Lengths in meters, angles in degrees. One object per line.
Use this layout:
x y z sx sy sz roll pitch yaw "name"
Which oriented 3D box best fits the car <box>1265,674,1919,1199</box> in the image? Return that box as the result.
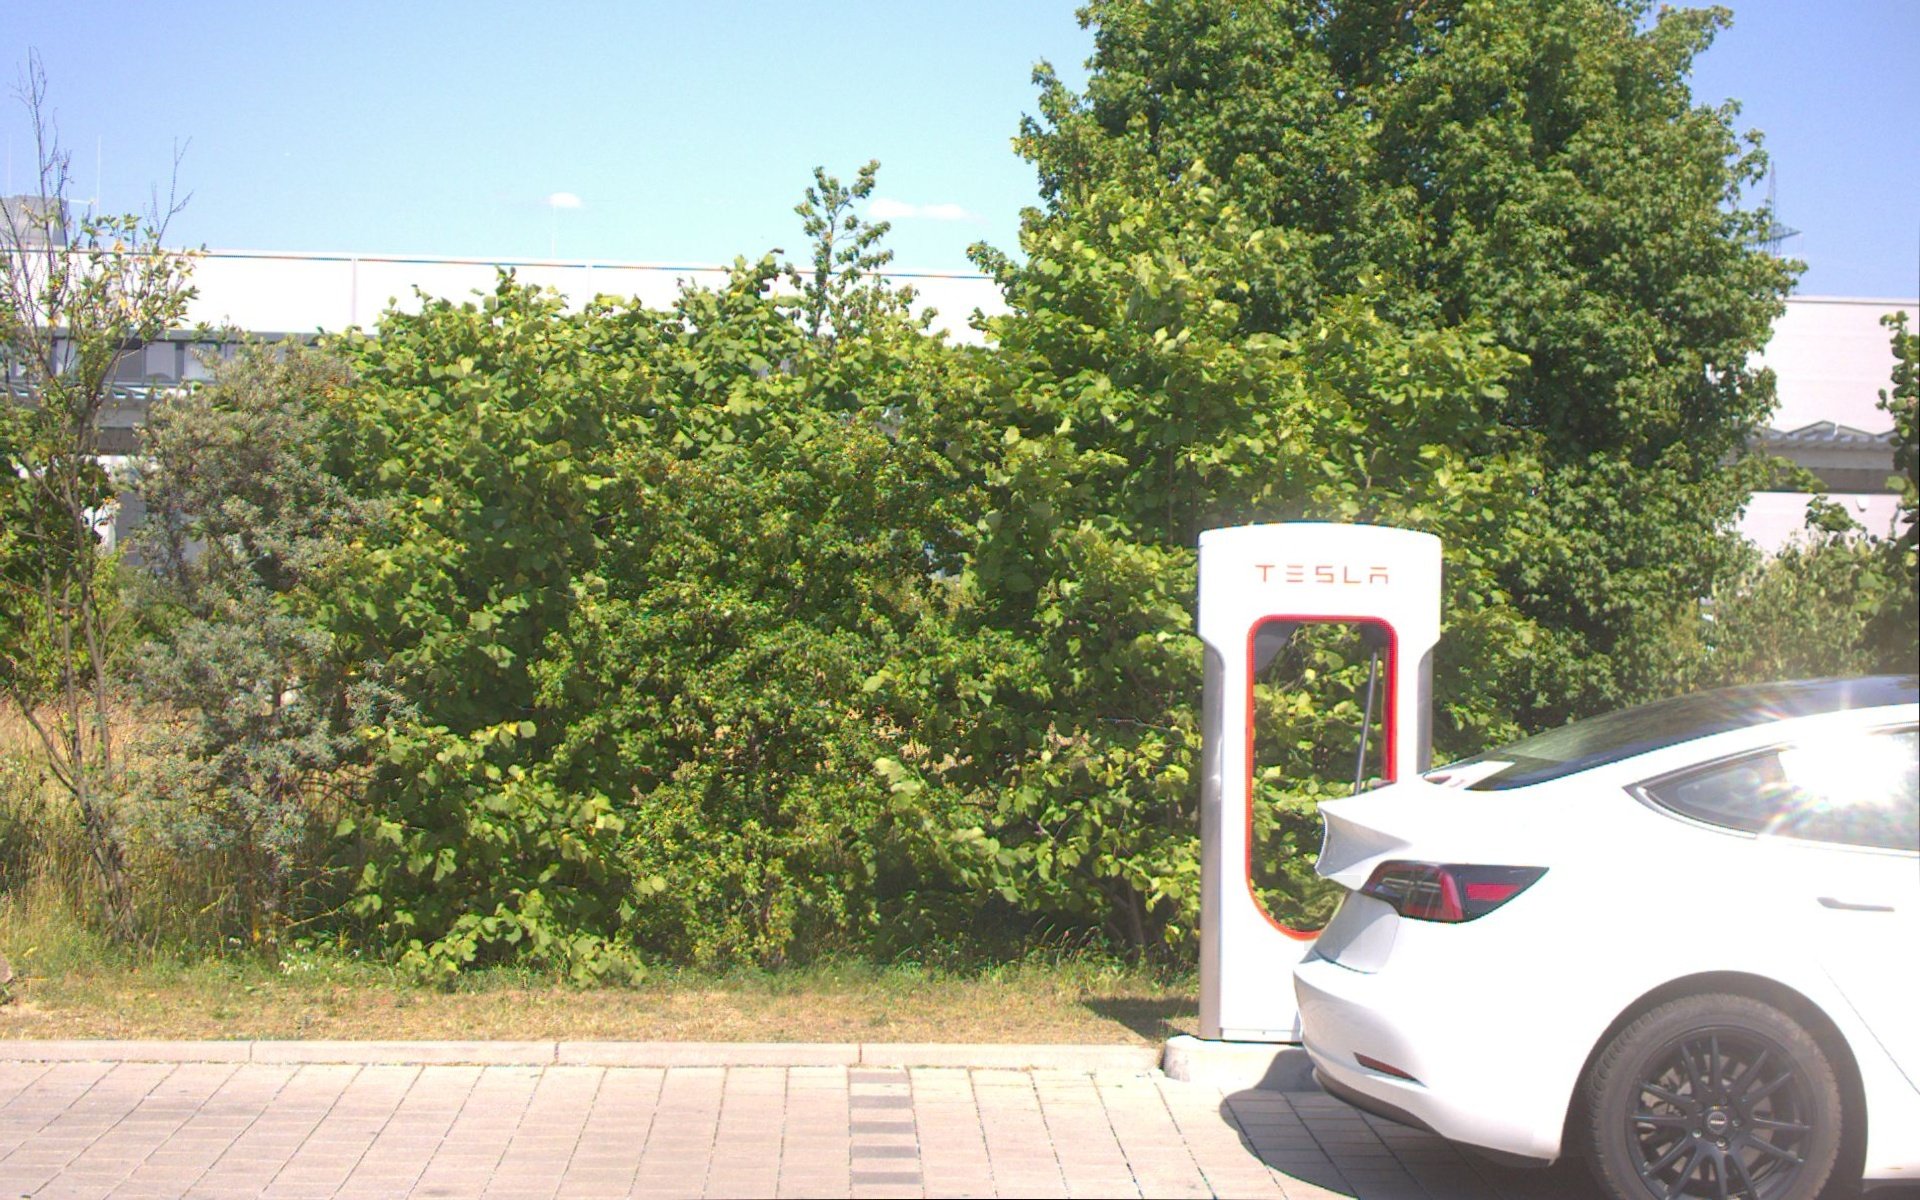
3.198 0.942 9.630 4.433 1.373 1.822 1 0 -3 "car"
